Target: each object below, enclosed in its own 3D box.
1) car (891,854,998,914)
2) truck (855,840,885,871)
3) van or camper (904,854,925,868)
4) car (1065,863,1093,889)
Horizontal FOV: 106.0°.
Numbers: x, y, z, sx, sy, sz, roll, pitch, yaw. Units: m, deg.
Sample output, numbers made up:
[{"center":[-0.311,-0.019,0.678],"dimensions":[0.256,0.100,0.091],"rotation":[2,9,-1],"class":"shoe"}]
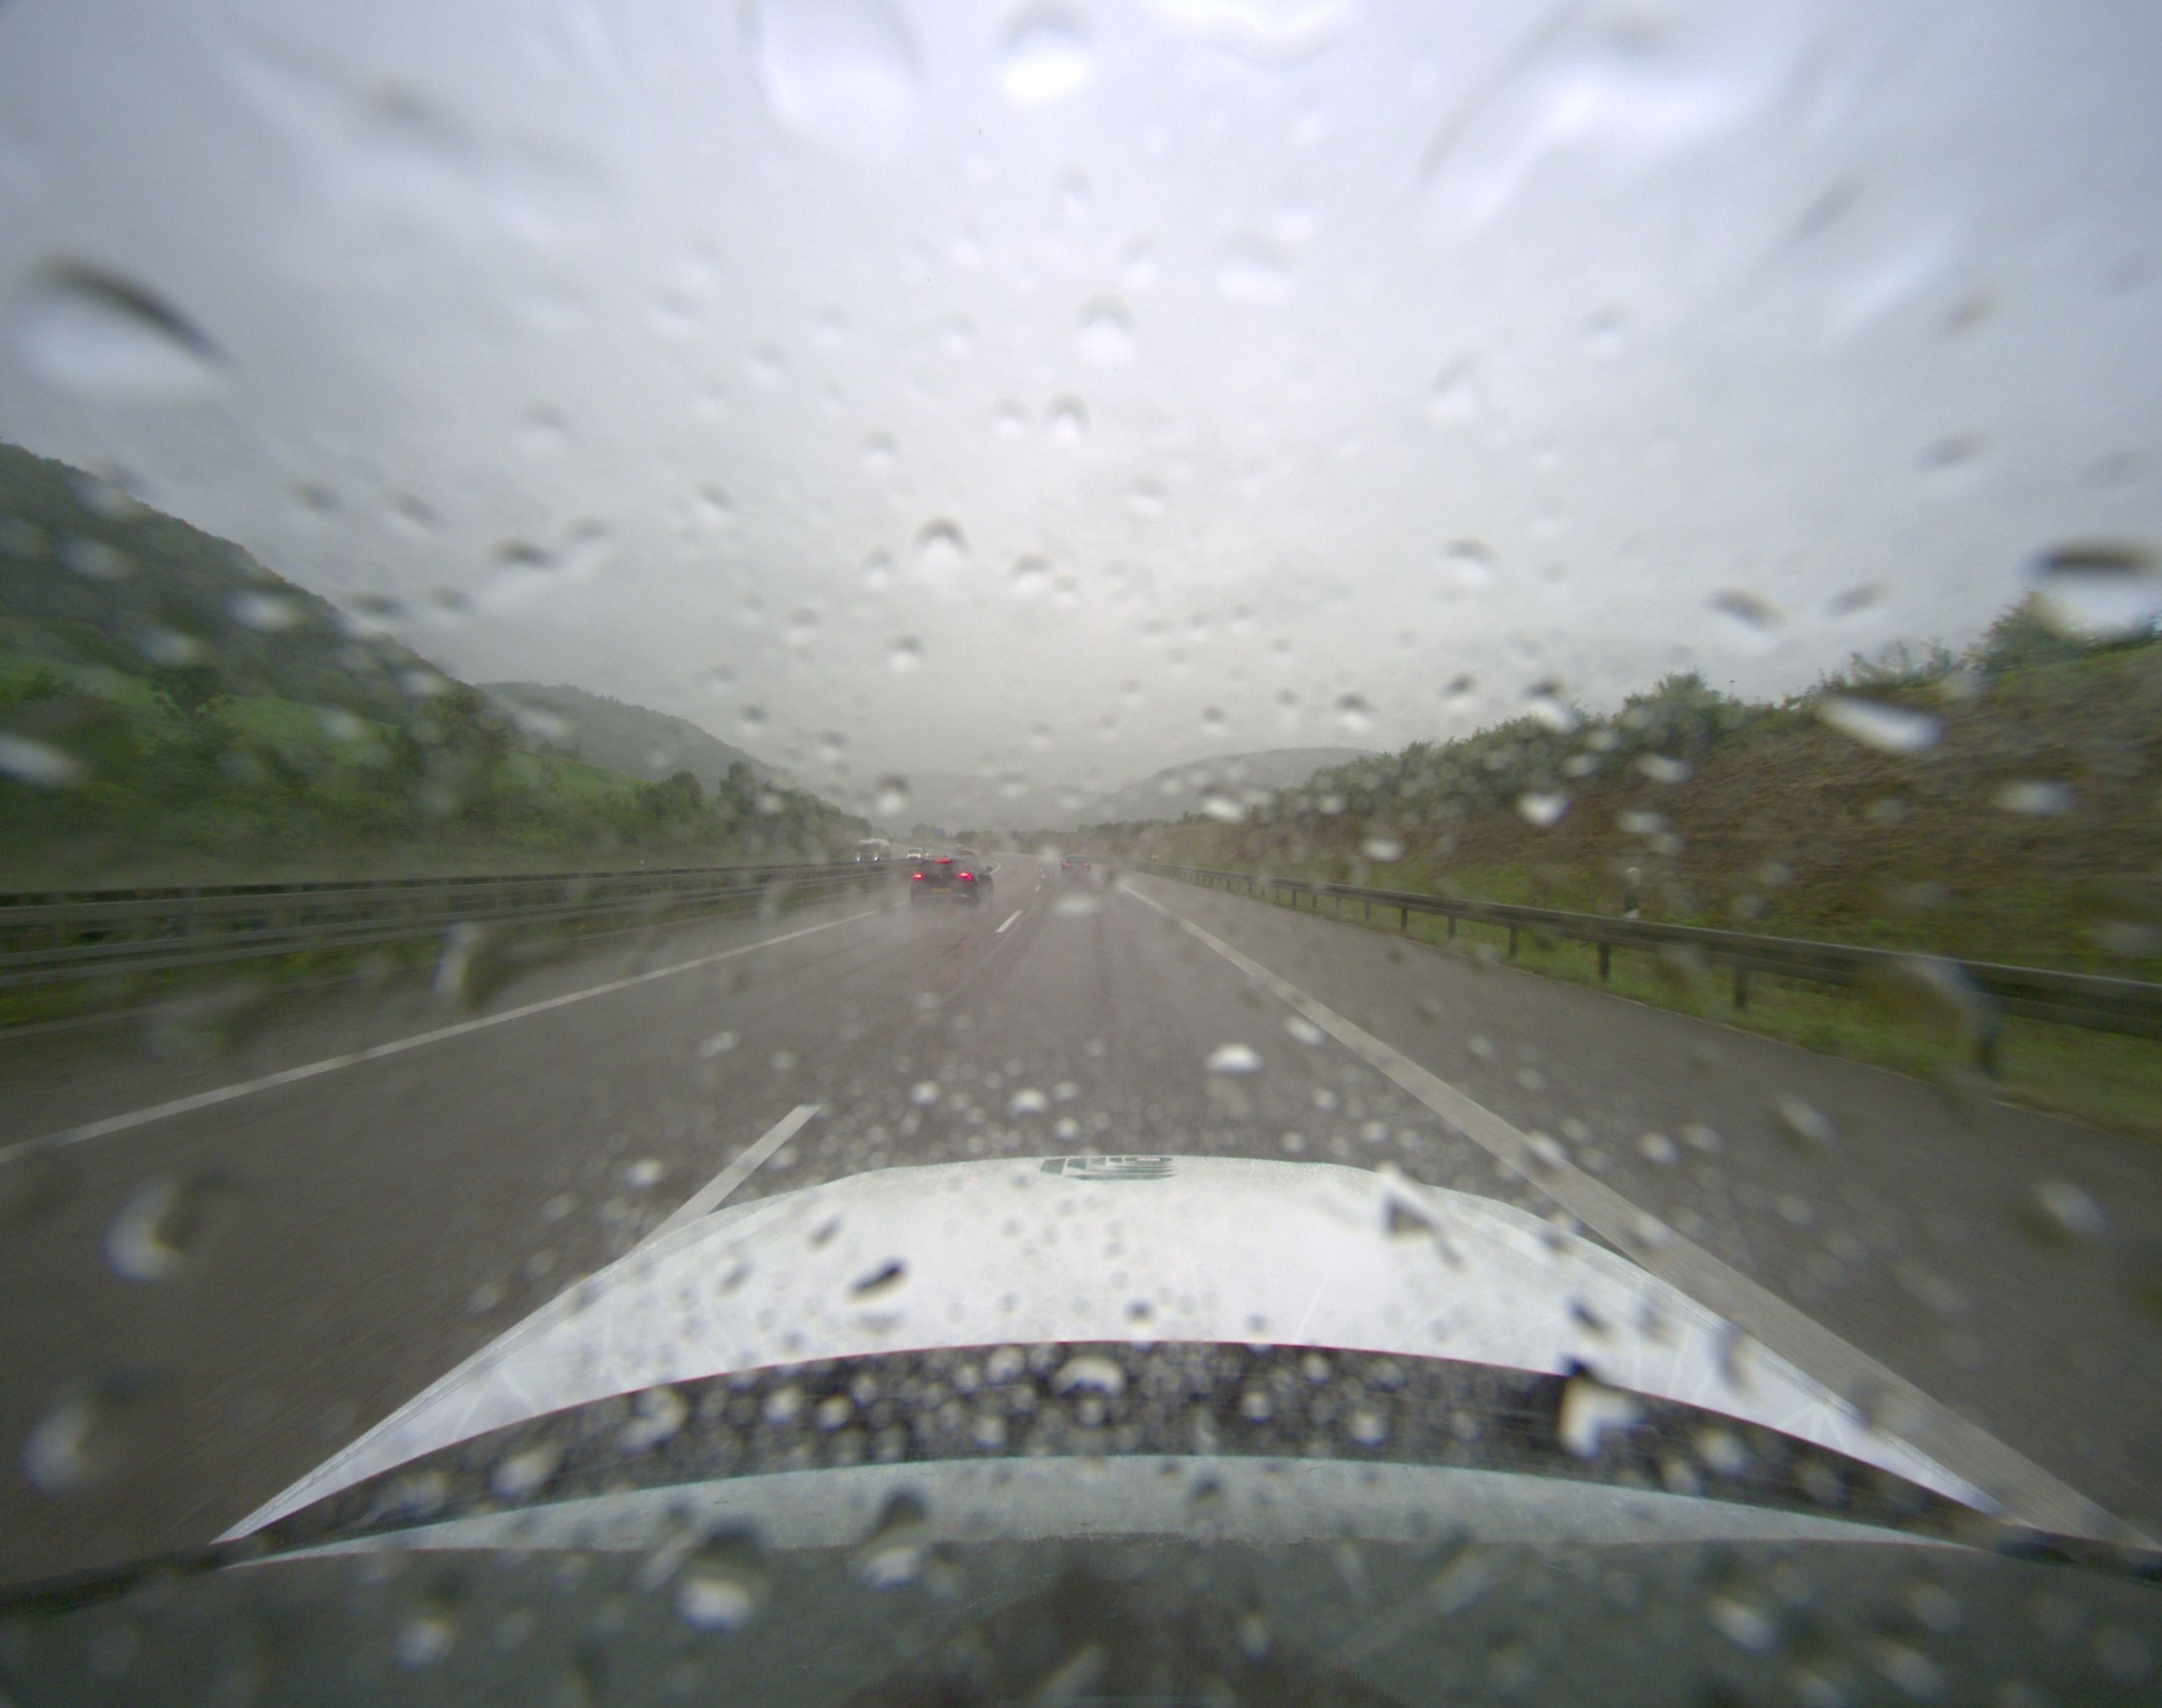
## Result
[{"center":[-3.779,0.801,23.548],"dimensions":[2.400,1.515,4.780],"rotation":[1,-1,-2],"class":"car"},{"center":[-26.361,0.202,102.153],"dimensions":[2.881,3.802,5.303],"rotation":[-1,0,-7],"class":"truck"},{"center":[-22.537,0.896,110.505],"dimensions":[1.989,1.878,5.340],"rotation":[-1,0,-3],"class":"van or camper"},{"center":[-0.152,1.317,50.179],"dimensions":[1.674,1.472,3.812],"rotation":[1,0,-1],"class":"car"}]
